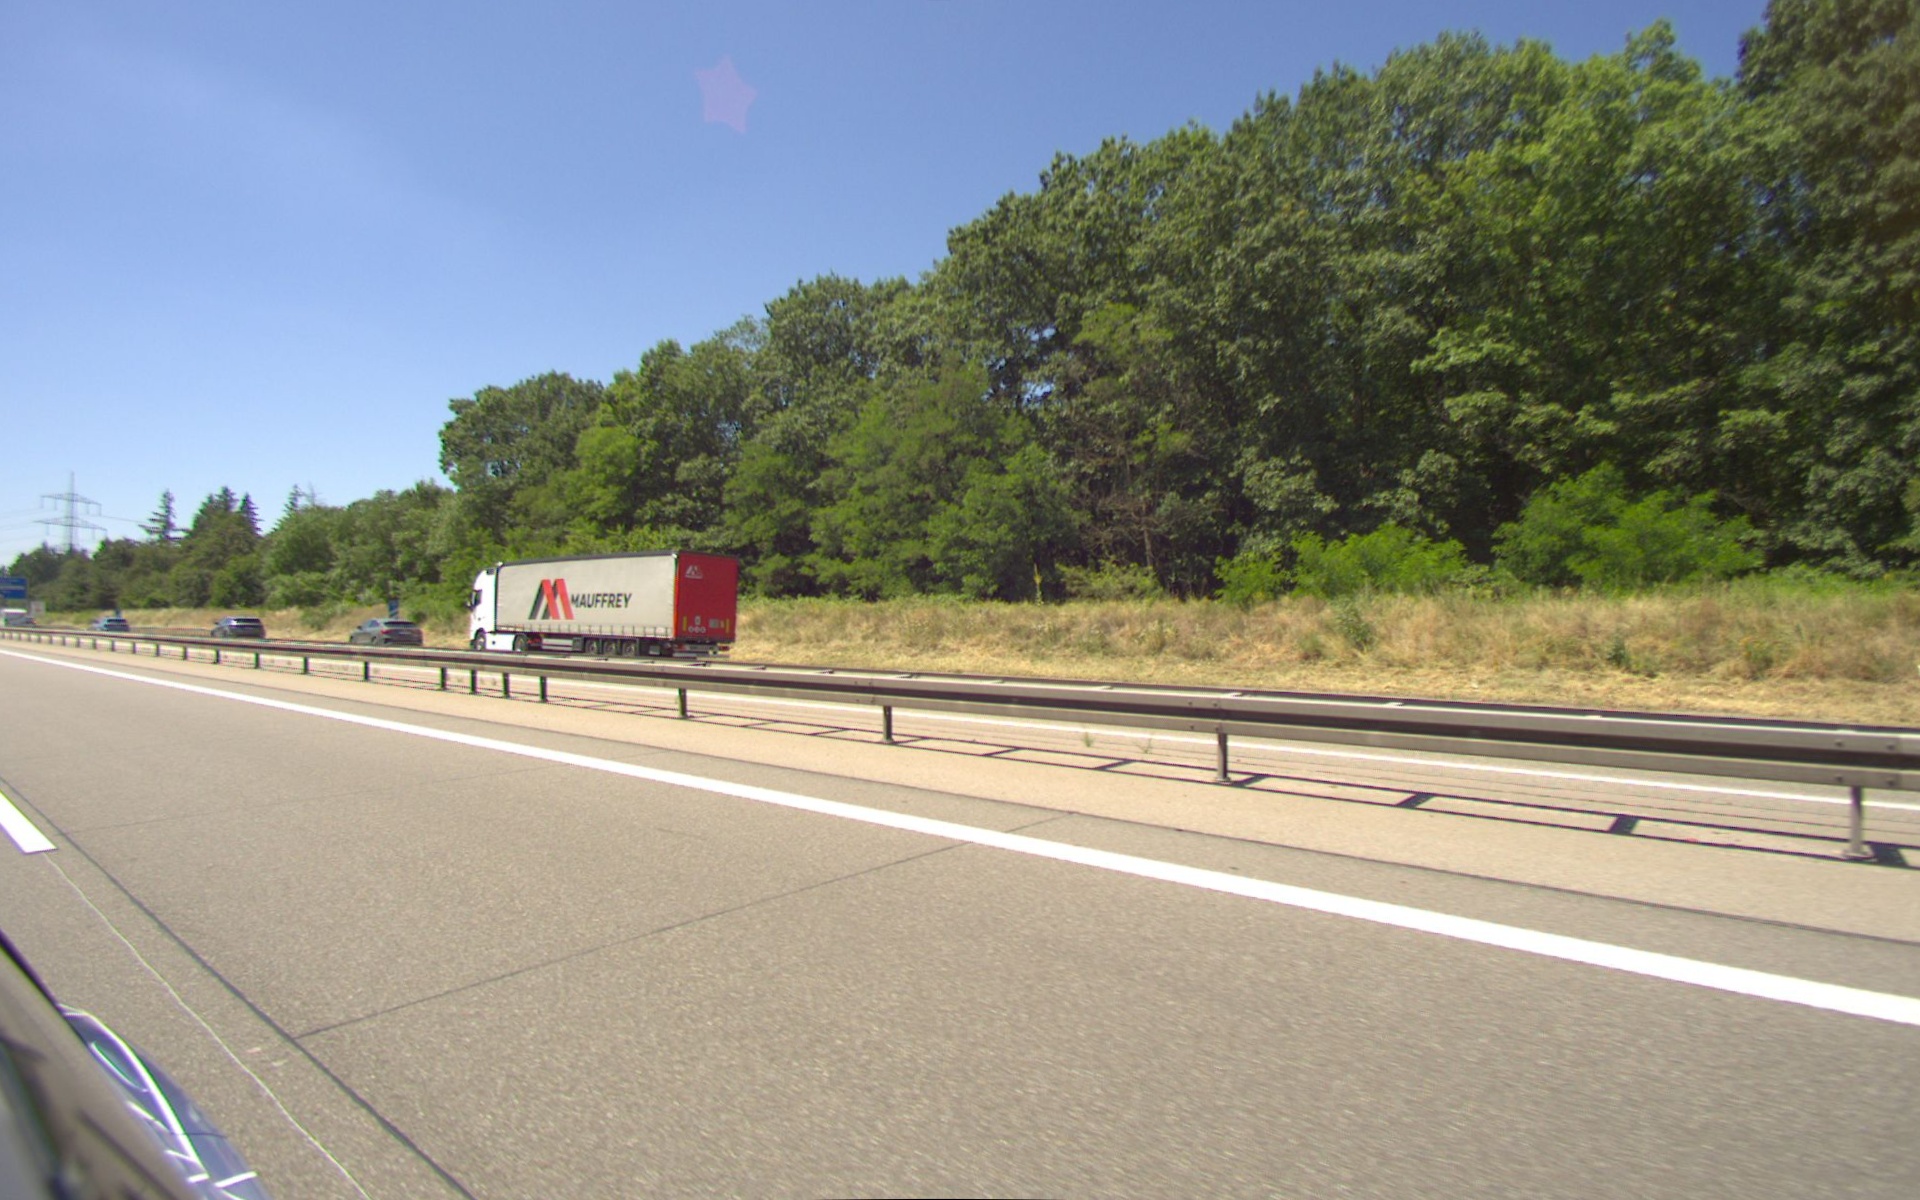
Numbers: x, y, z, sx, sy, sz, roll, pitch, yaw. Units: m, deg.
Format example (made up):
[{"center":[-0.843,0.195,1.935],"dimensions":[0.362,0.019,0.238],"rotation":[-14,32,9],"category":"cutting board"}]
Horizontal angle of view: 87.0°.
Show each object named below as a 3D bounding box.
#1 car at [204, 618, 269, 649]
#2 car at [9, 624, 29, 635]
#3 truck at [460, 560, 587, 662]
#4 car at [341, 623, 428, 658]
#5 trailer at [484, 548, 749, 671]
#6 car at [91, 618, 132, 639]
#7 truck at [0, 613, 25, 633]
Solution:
[{"center":[-41.525,1.905,58.049],"dimensions":[4.718,1.693,1.870],"rotation":[-1,-4,40],"category":"car"},{"center":[-143.424,4.484,154.287],"dimensions":[3.906,1.534,1.753],"rotation":[-1,-4,41],"category":"car"},{"center":[-19.202,0.566,44.389],"dimensions":[5.672,4.151,2.783],"rotation":[-1,-4,41],"category":"truck"},{"center":[-25.242,1.751,44.314],"dimensions":[4.580,1.445,1.869],"rotation":[-1,-4,41],"category":"car"},{"center":[-14.008,0.480,39.873],"dimensions":[14.539,4.151,2.783],"rotation":[-1,-4,41],"category":"trailer"},{"center":[-66.810,2.264,79.676],"dimensions":[3.906,1.534,1.753],"rotation":[-1,-4,41],"category":"car"},{"center":[-132.672,3.242,140.978],"dimensions":[6.362,2.693,2.623],"rotation":[-1,-4,41],"category":"truck"}]
